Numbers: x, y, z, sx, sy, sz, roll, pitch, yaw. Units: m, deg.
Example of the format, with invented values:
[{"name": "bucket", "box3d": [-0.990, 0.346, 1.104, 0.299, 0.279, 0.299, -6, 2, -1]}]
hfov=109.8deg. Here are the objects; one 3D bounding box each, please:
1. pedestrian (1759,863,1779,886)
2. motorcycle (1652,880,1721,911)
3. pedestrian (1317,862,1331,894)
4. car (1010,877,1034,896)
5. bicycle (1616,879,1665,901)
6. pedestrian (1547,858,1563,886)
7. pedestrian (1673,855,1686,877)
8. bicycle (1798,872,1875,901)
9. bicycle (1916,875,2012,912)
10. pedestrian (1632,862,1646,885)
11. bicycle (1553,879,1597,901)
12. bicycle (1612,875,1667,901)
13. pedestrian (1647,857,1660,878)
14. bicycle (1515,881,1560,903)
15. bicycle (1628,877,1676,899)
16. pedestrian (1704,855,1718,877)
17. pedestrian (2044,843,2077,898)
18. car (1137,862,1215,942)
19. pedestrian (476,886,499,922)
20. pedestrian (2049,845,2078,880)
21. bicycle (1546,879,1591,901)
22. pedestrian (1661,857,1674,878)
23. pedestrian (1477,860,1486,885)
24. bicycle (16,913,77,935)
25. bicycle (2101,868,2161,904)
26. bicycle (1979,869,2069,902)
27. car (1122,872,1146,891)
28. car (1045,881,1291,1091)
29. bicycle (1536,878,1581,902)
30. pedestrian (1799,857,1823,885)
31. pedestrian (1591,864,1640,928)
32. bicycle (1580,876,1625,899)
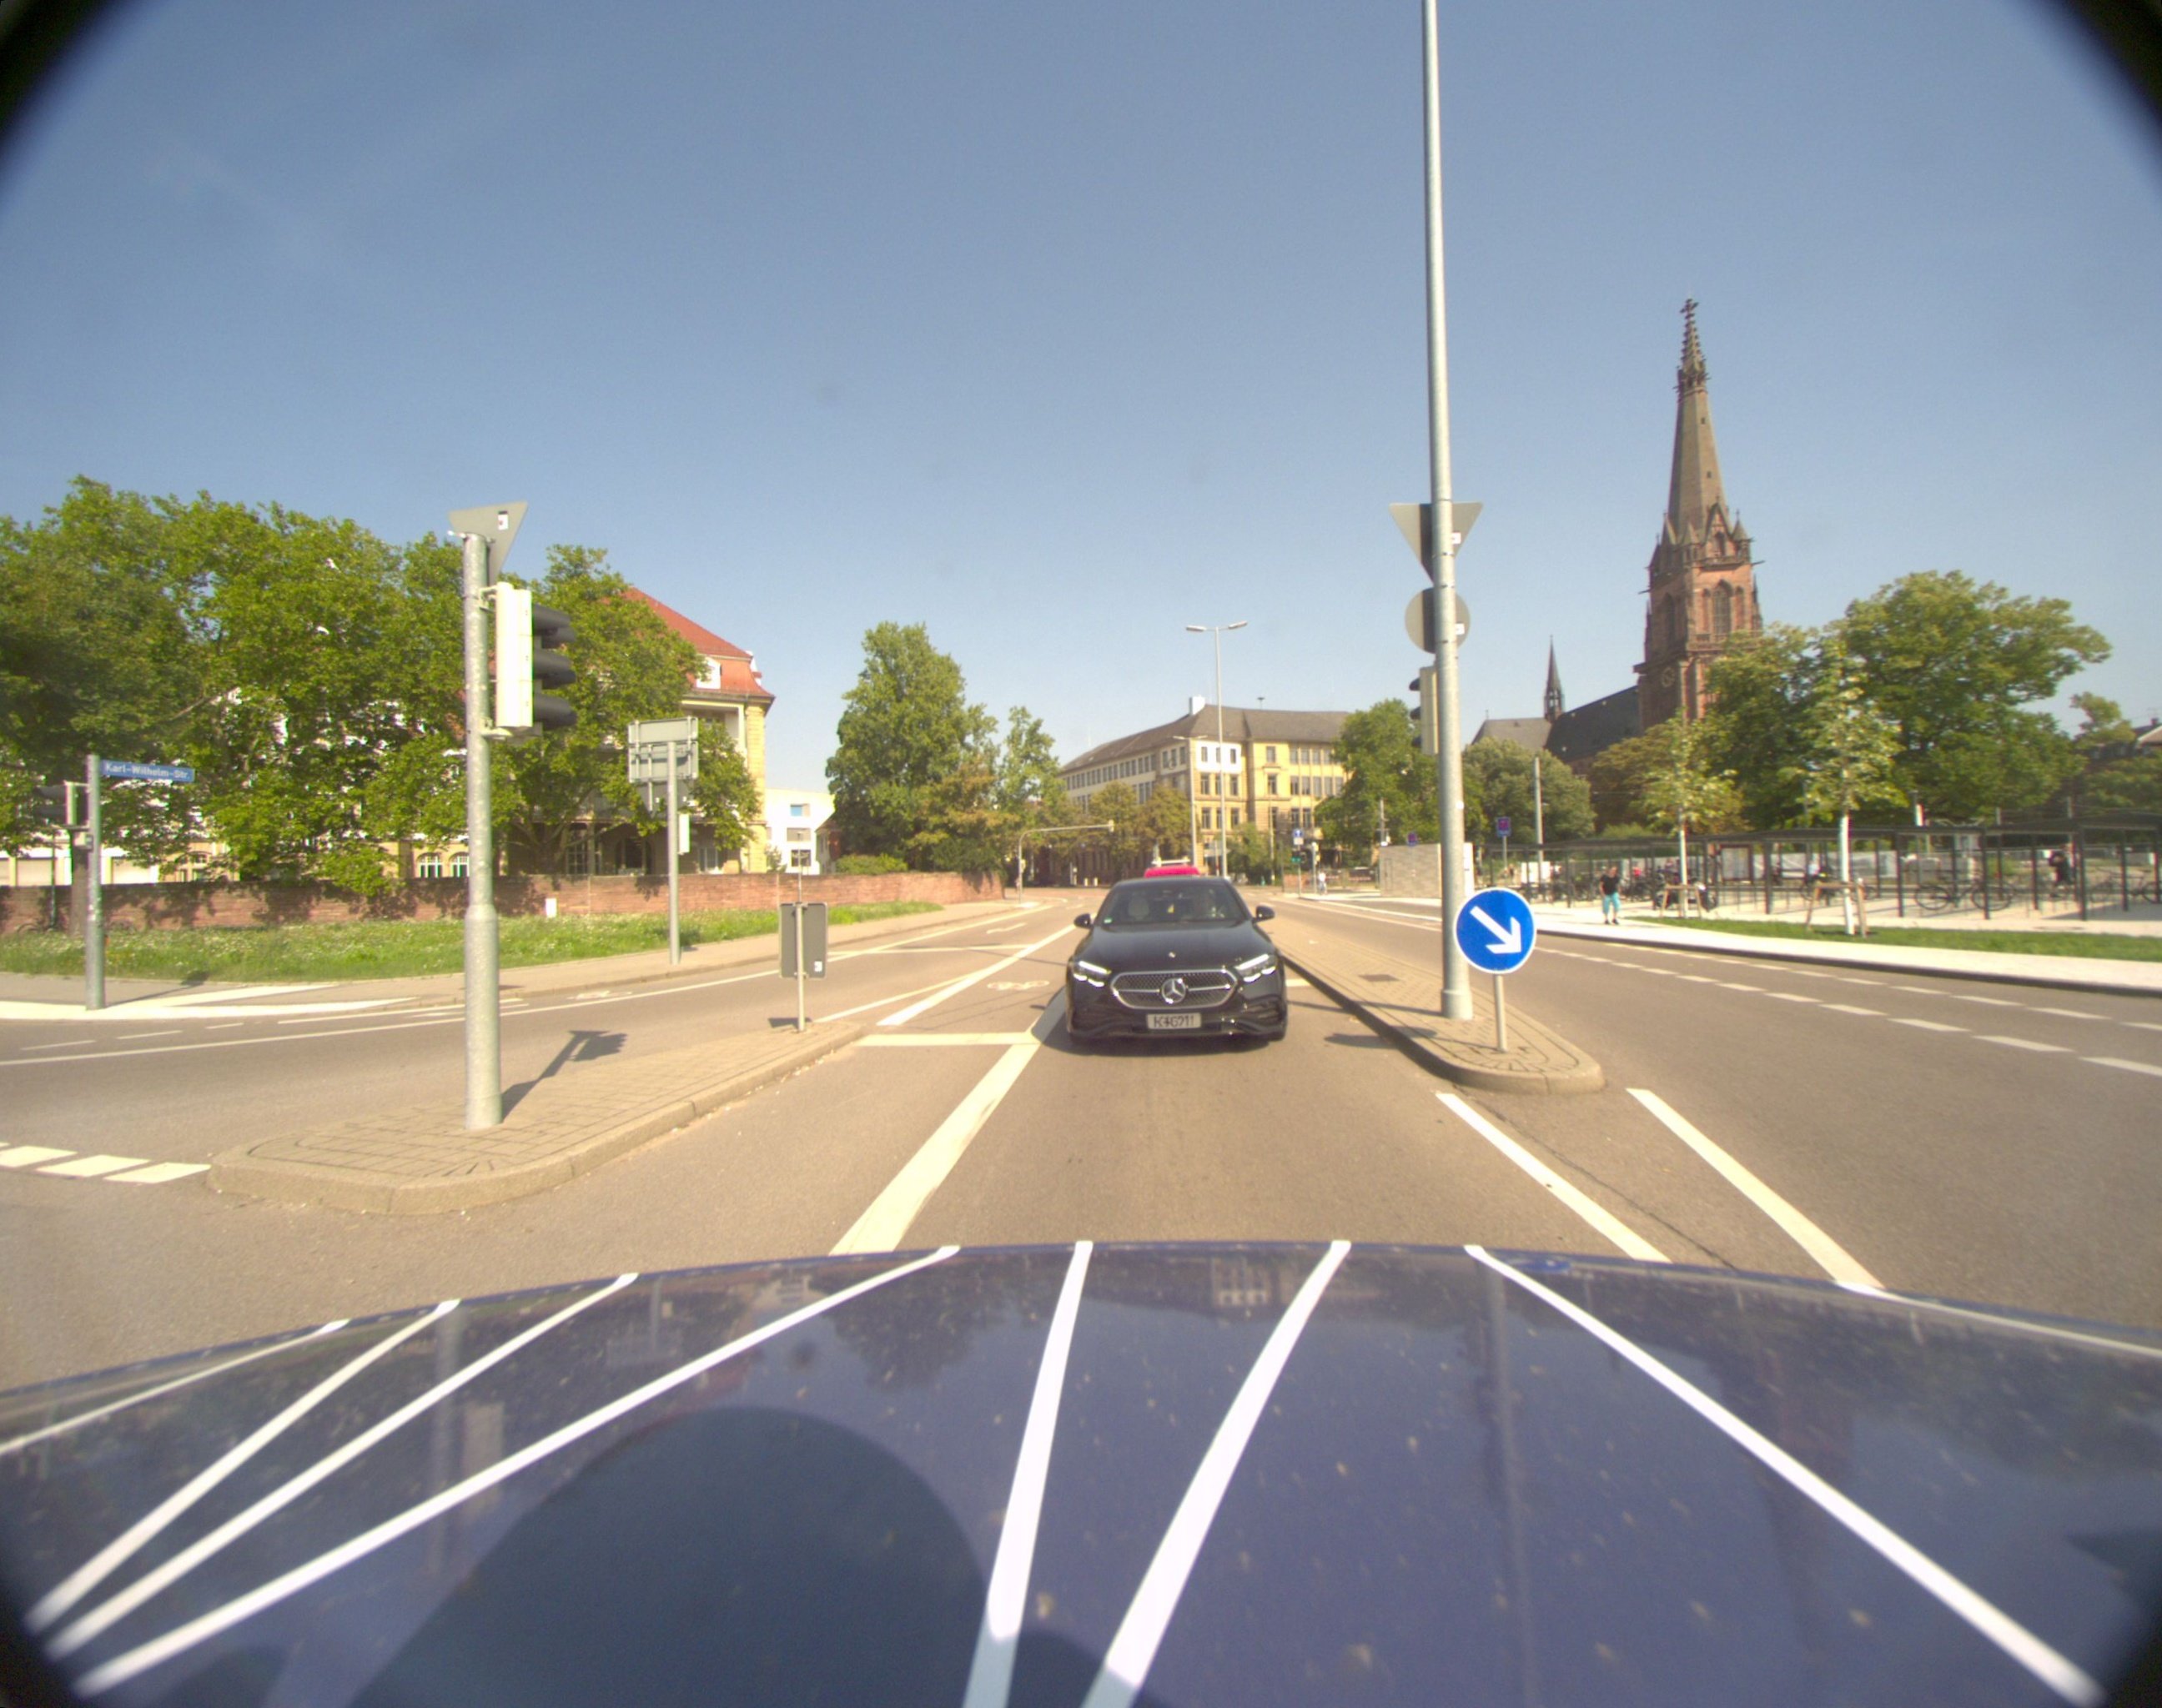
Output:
[{"name": "pedestrian", "box3d": [35.789, 1.063, 39.524, 0.468, 1.190, 0.573, -1, -1, -26]}, {"name": "motorcycle", "box3d": [20.538, 1.402, 25.825, 0.544, 1.003, 1.742, -1, -1, -27]}, {"name": "pedestrian", "box3d": [15.722, 1.554, 49.134, 0.732, 2.001, 0.715, -2, -1, 12]}, {"name": "car", "box3d": [-7.283, 3.986, 93.381, 2.001, 2.118, 4.242, -3, -1, -16]}, {"name": "bicycle", "box3d": [22.931, 1.464, 31.176, 0.410, 0.887, 1.585, -1, -1, -27]}, {"name": "pedestrian", "box3d": [30.448, 1.167, 48.816, 0.716, 1.738, 0.389, -1, -1, 5]}, {"name": "pedestrian", "box3d": [34.853, 0.696, 44.249, 0.440, 1.217, 0.382, -3, -1, -26]}, {"name": "bicycle", "box3d": [26.848, 1.152, 27.039, 0.462, 1.003, 1.871, -1, -1, -27]}, {"name": "bicycle", "box3d": [25.449, 1.125, 21.937, 0.402, 1.003, 1.742, -1, -1, -27]}, {"name": "pedestrian", "box3d": [33.559, 1.171, 45.693, 0.394, 1.310, 0.414, -3, -1, -23]}, {"name": "bicycle", "box3d": [21.142, 1.525, 32.542, 0.410, 0.887, 1.585, -1, -1, -27]}, {"name": "bicycle", "box3d": [22.361, 1.357, 30.466, 0.534, 0.981, 1.710, -1, -1, -27]}, {"name": "pedestrian", "box3d": [34.100, 0.833, 45.280, 0.440, 1.217, 0.382, -3, -1, -26]}, {"name": "bicycle", "box3d": [18.879, 1.568, 31.439, 0.402, 0.887, 1.585, -1, -1, -27]}, {"name": "bicycle", "box3d": [24.064, 1.436, 32.049, 0.410, 0.887, 1.585, -1, -1, -27]}, {"name": "pedestrian", "box3d": [35.825, 0.684, 43.213, 0.440, 1.217, 0.382, -3, -1, -26]}, {"name": "pedestrian", "box3d": [32.196, 0.533, 24.987, 0.334, 1.790, 0.591, -1, -1, -32]}, {"name": "car", "box3d": [2.510, 1.166, 19.509, 1.735, 1.808, 4.282, -2, -2, 9]}, {"name": "pedestrian", "box3d": [-28.502, 2.410, 36.476, 0.719, 1.673, 0.593, -1, -1, -25]}, {"name": "pedestrian", "box3d": [40.658, 0.356, 31.448, 0.470, 1.413, 0.568, -3, -1, -26]}, {"name": "bicycle", "box3d": [20.672, 1.521, 32.260, 0.402, 0.887, 1.585, -1, -1, -27]}, {"name": "pedestrian", "box3d": [34.753, 0.782, 45.014, 0.440, 1.217, 0.382, -3, -1, -26]}, {"name": "pedestrian", "box3d": [27.776, 1.261, 52.689, 0.517, 1.697, 0.505, -1, 0, 31]}, {"name": "bicycle", "box3d": [-43.012, 2.901, 31.603, 1.551, 0.830, 0.433, -1, -1, -18]}, {"name": "bicycle", "box3d": [30.927, 0.918, 21.911, 0.475, 1.014, 1.741, -1, -1, -29]}, {"name": "bicycle", "box3d": [30.051, 0.998, 24.253, 0.402, 1.003, 1.742, -1, -1, -27]}, {"name": "car", "box3d": [4.862, 2.521, 69.800, 1.998, 1.600, 4.249, -4, -1, 3]}, {"name": "car", "box3d": [0.988, 1.087, 8.172, 1.823, 1.431, 4.877, -2, -1, 8]}, {"name": "bicycle", "box3d": [20.059, 1.507, 31.919, 0.422, 0.961, 1.585, -1, -1, -27]}, {"name": "pedestrian", "box3d": [36.487, 0.849, 37.975, 0.663, 1.386, 0.642, -1, -1, -30]}, {"name": "pedestrian", "box3d": [13.276, 1.039, 18.890, 0.754, 1.555, 0.666, 0, -1, -11]}, {"name": "bicycle", "box3d": [23.164, 1.463, 33.752, 0.453, 0.971, 1.585, -3, 0, -27]}]
